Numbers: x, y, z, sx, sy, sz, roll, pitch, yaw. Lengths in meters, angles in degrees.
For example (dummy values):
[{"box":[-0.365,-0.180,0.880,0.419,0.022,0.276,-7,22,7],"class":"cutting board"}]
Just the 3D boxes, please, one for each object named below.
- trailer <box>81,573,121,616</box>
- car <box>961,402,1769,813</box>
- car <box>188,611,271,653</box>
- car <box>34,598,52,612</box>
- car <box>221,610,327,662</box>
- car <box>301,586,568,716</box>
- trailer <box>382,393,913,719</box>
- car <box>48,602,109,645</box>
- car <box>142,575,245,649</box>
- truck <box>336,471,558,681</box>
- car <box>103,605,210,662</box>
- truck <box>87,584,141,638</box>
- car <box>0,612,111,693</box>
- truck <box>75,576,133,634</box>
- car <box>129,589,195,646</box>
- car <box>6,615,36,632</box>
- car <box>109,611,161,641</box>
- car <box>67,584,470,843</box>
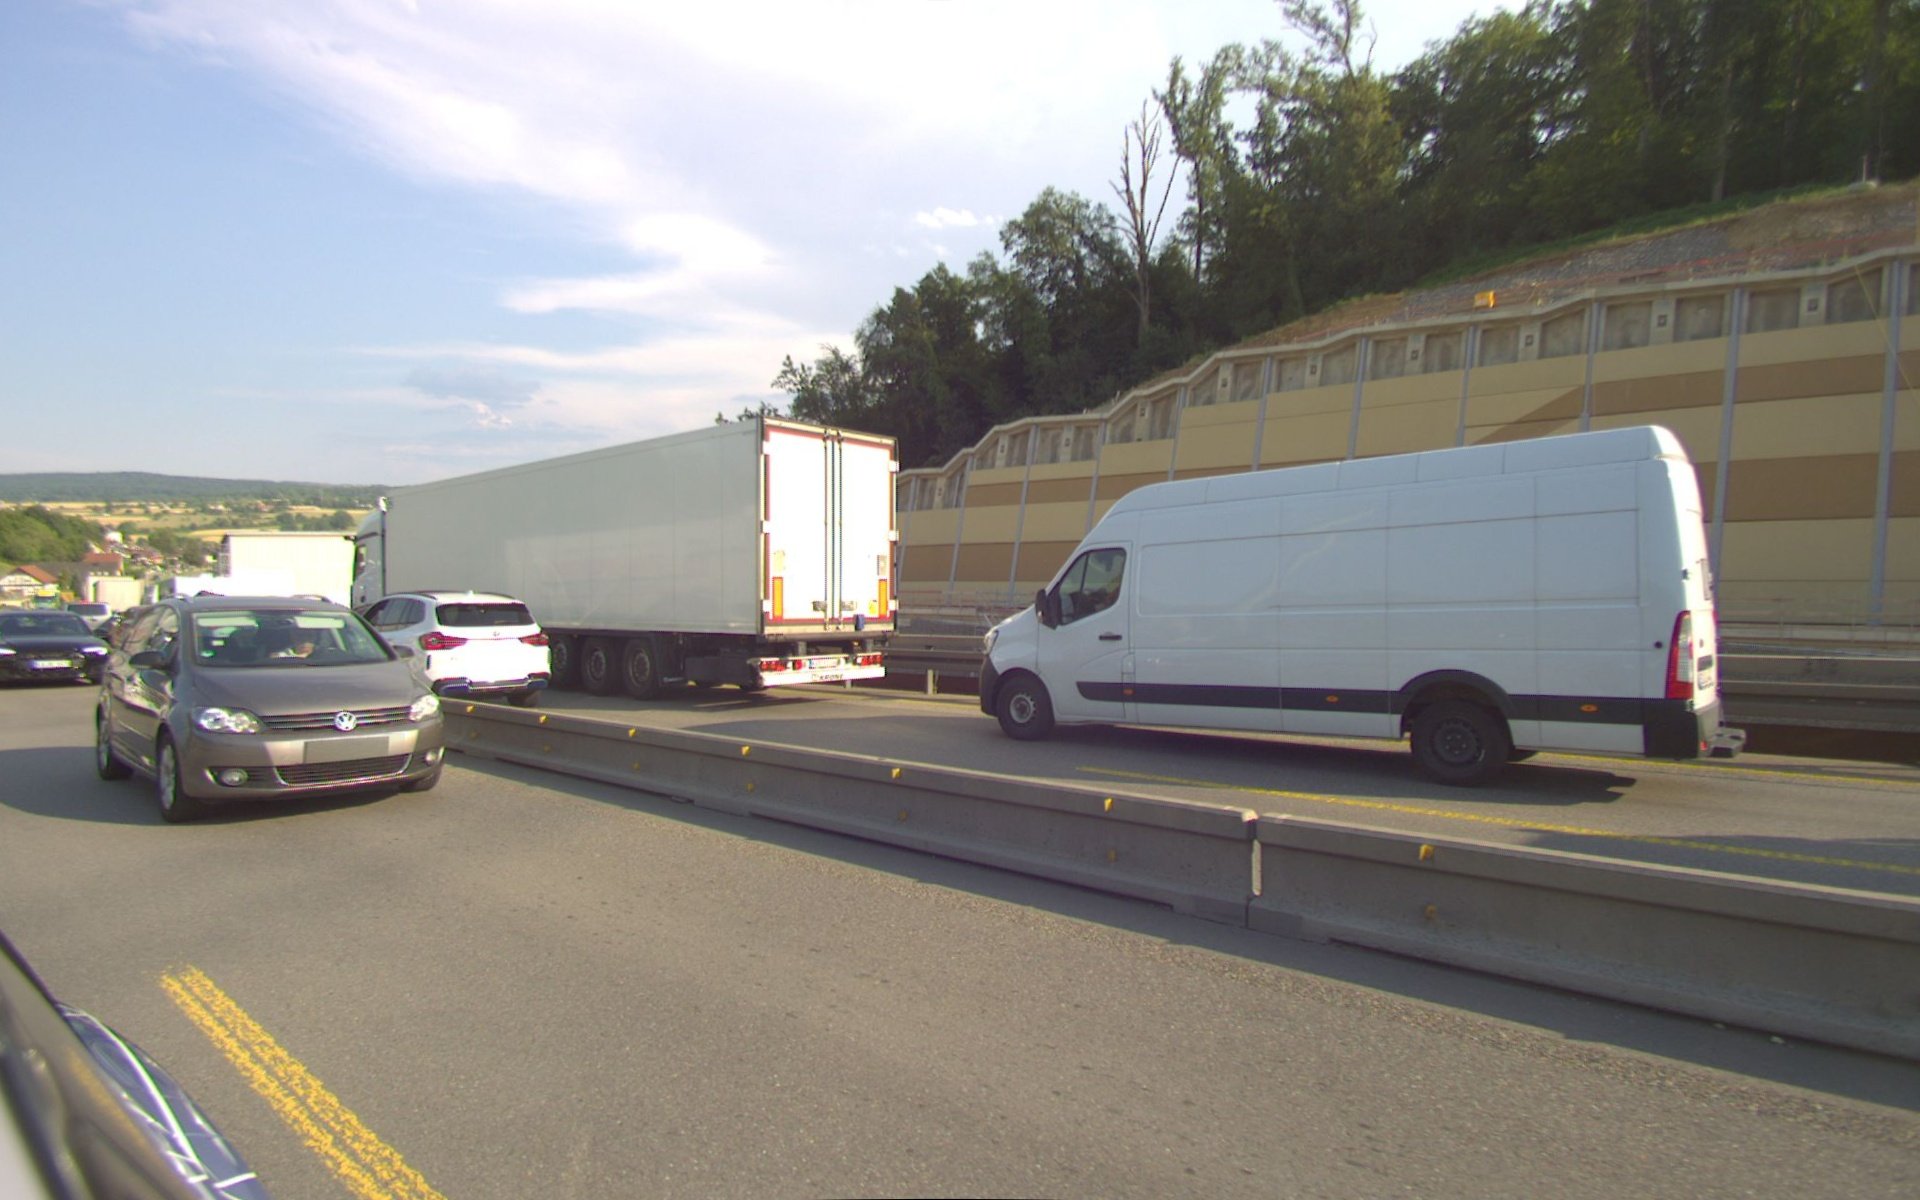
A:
[{"box":[-86.710,-0.429,102.035,2.822,4.066,13.990,1,-1,-41],"class":"trailer"},{"box":[3.288,0.031,9.704,6.945,2.710,2.001,0,1,41],"class":"car"},{"box":[-27.071,1.146,37.438,4.611,1.433,1.729,0,0,44],"class":"car"},{"box":[-142.851,0.799,157.648,4.756,2.015,1.797,-2,-4,44],"class":"car"},{"box":[-21.036,1.062,30.961,4.713,1.471,1.724,-1,-1,43],"class":"car"},{"box":[-7.855,0.659,14.911,4.802,1.601,1.849,1,-2,42],"class":"car"},{"box":[-6.723,-0.526,18.766,13.743,4.250,2.692,-1,-1,42],"class":"trailer"},{"box":[-39.265,1.066,45.038,1.784,1.785,5.456,0,-2,-44],"class":"car"},{"box":[-33.002,0.503,43.437,7.634,2.940,2.308,0,-1,44],"class":"car"},{"box":[-11.961,-0.467,23.415,5.680,4.250,2.684,-1,-1,41],"class":"truck"},{"box":[-24.571,0.993,30.906,4.454,1.580,1.867,-2,0,42],"class":"car"},{"box":[-56.946,0.738,68.033,2.418,3.489,7.625,0,-1,-43],"class":"truck"},{"box":[-17.951,0.951,19.610,4.001,1.409,1.842,0,-1,44],"class":"car"},{"box":[-66.794,0.410,78.814,2.675,4.119,14.168,1,-1,-43],"class":"truck"},{"box":[-39.258,0.831,49.731,1.933,2.640,5.753,1,-1,-44],"class":"car"},{"box":[-88.942,2.242,95.848,4.756,1.591,1.797,-2,-4,44],"class":"car"},{"box":[-44.924,1.388,55.064,4.004,1.535,1.744,-1,0,44],"class":"car"},{"box":[-5.728,0.708,8.182,4.096,1.586,1.667,-1,0,40],"class":"car"}]
